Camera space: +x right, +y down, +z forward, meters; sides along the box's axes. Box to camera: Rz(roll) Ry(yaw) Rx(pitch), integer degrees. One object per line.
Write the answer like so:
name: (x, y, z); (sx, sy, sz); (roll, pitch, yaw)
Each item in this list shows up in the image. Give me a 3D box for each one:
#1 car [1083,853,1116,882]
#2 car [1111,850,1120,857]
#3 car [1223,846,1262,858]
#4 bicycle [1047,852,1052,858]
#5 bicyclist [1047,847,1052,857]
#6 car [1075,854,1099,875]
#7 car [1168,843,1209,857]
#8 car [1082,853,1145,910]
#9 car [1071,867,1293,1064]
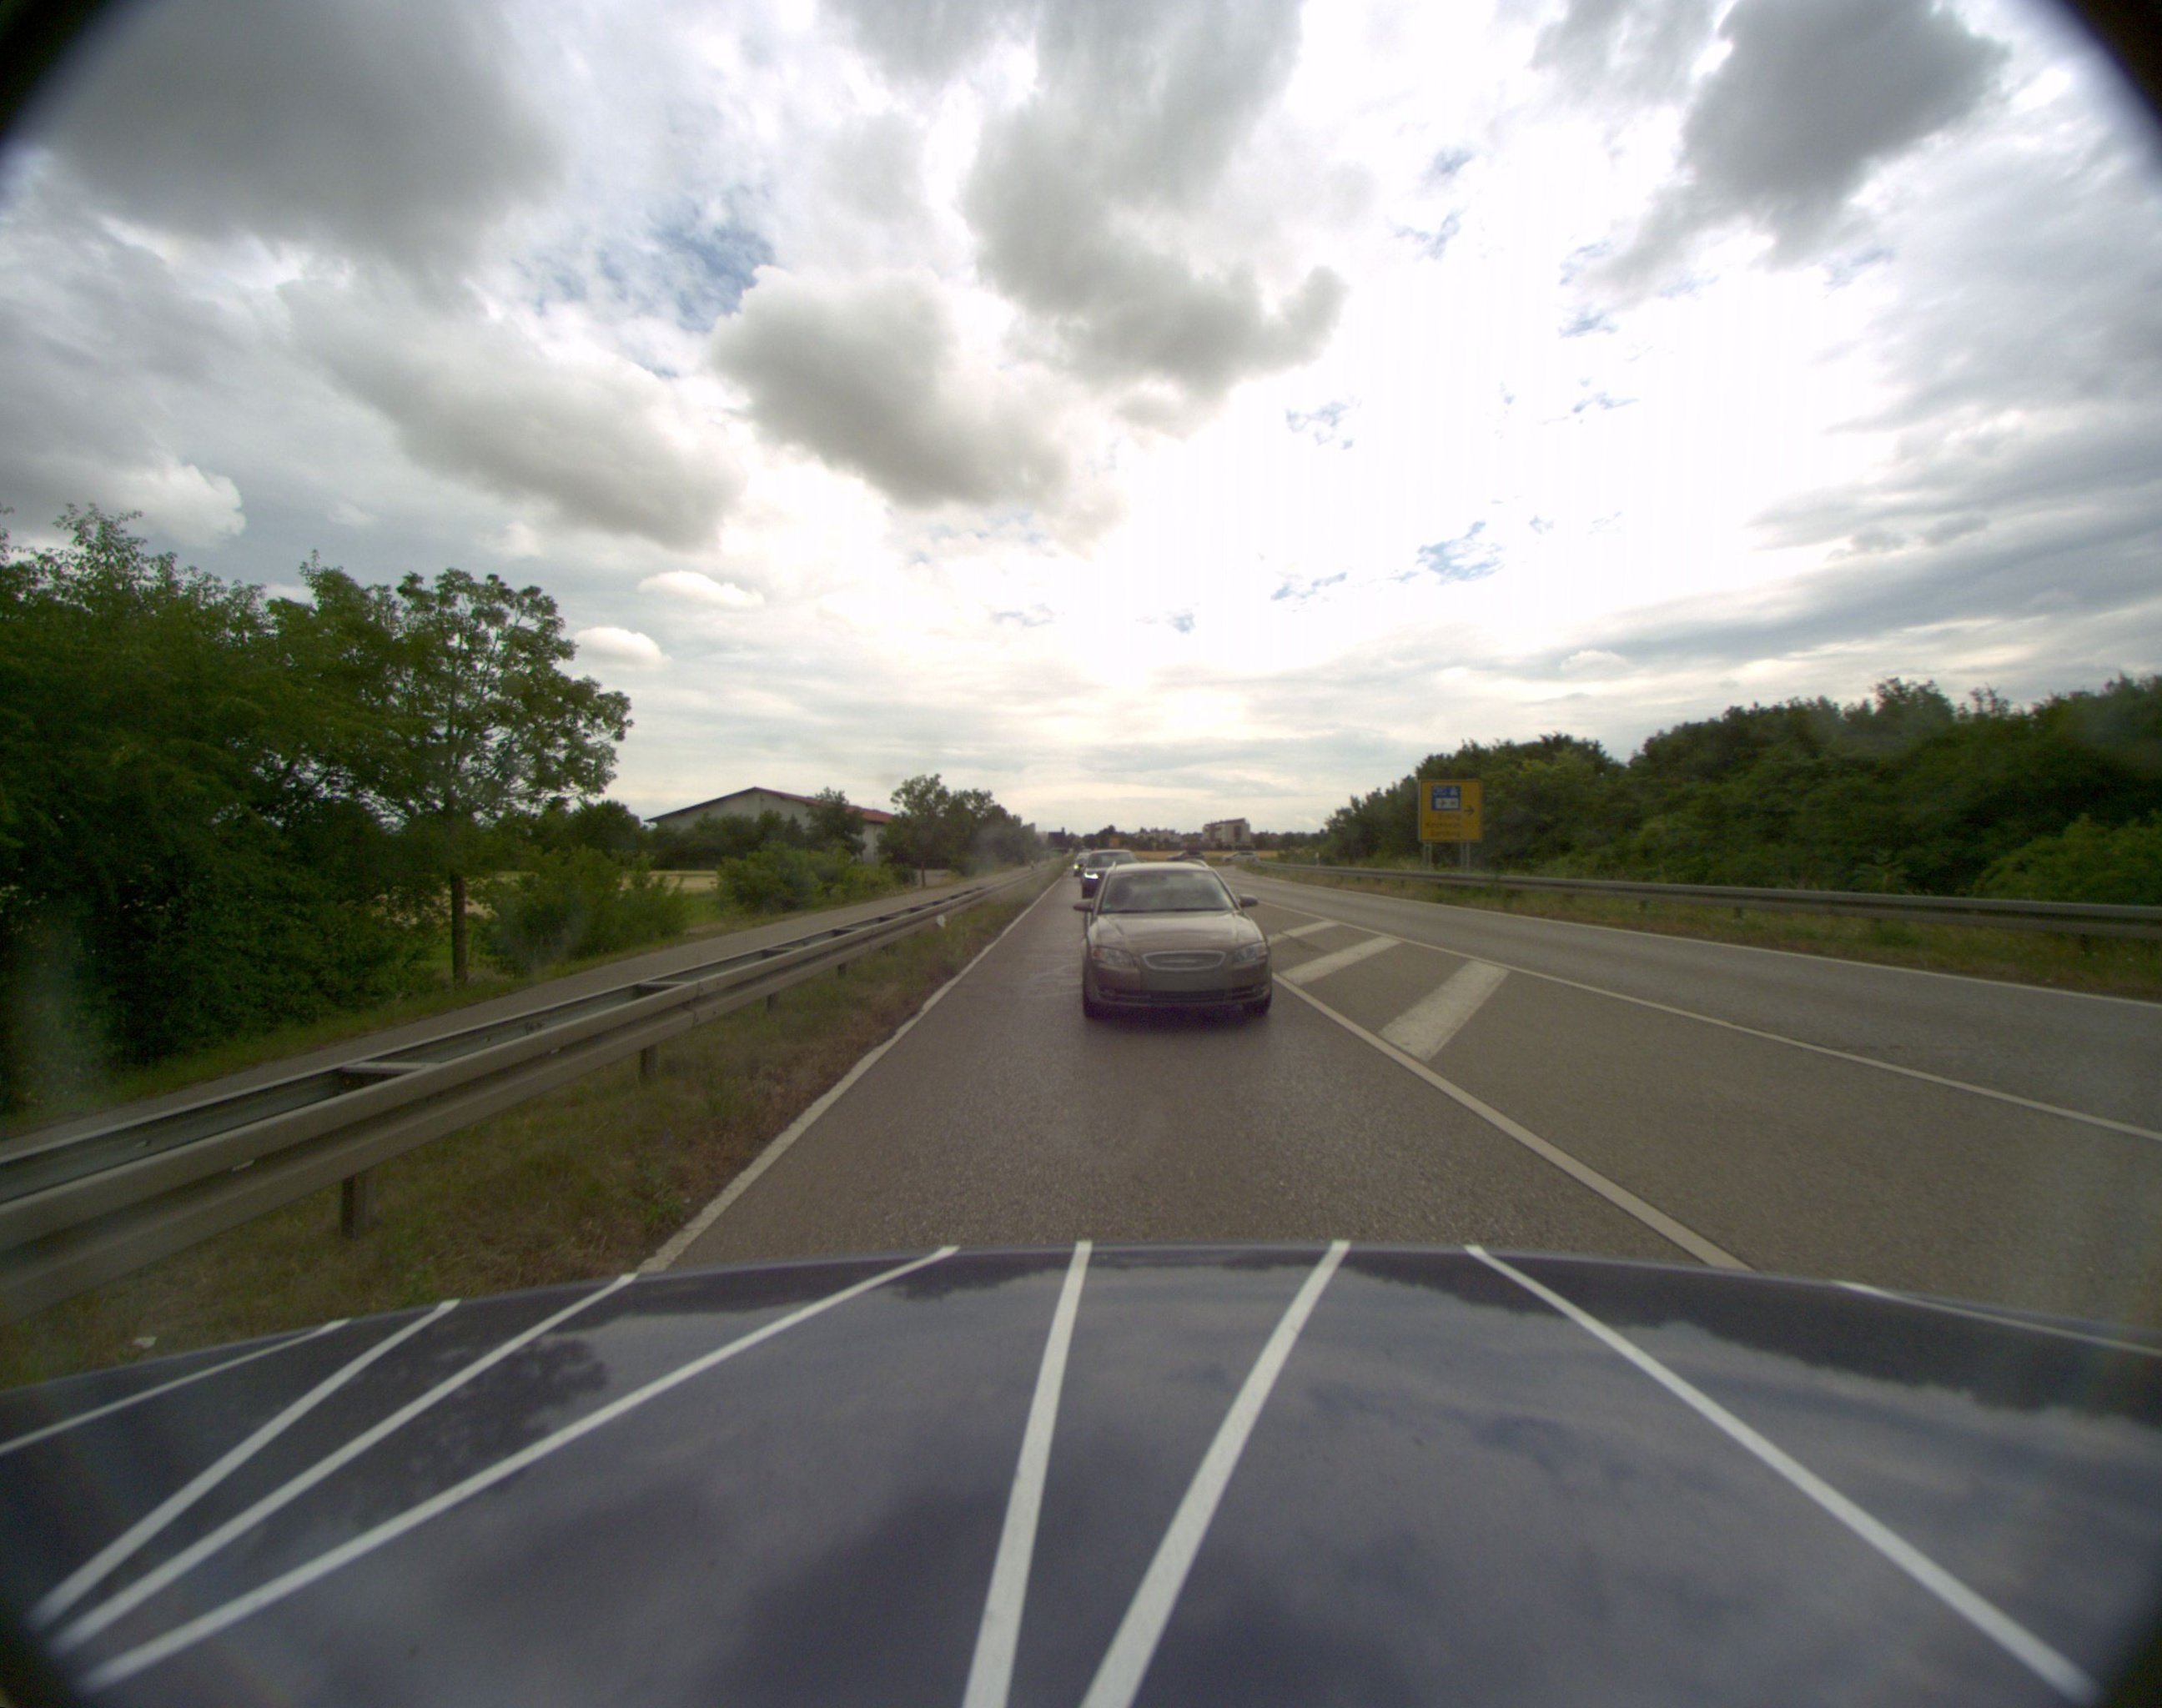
car: (1.011, 0.709, 42.722); (1.730, 1.478, 4.204); (-2, 0, 0)
car: (7.398, -0.031, 163.098); (1.804, 1.442, 4.445); (-1, 1, -1)
car: (20.122, -0.263, 94.847); (4.672, 1.490, 2.001); (-1, 1, 10)
bicycle: (-5.122, 0.190, 123.259); (0.640, 0.972, 2.072); (-1, 1, 1)
bicyclist: (-5.130, -0.388, 123.229); (0.640, 1.573, 0.969); (-1, 1, 1)
car: (0.441, 0.723, 56.768); (1.730, 1.436, 4.204); (-2, 0, 0)
car: (13.399, -0.509, 94.879); (4.815, 1.680, 1.999); (-1, 1, -3)
car: (0.931, 0.781, 23.809); (1.730, 1.534, 4.204); (-2, 0, 0)
car: (0.805, 0.914, 8.101); (1.730, 1.436, 4.204); (-1, 0, 0)
